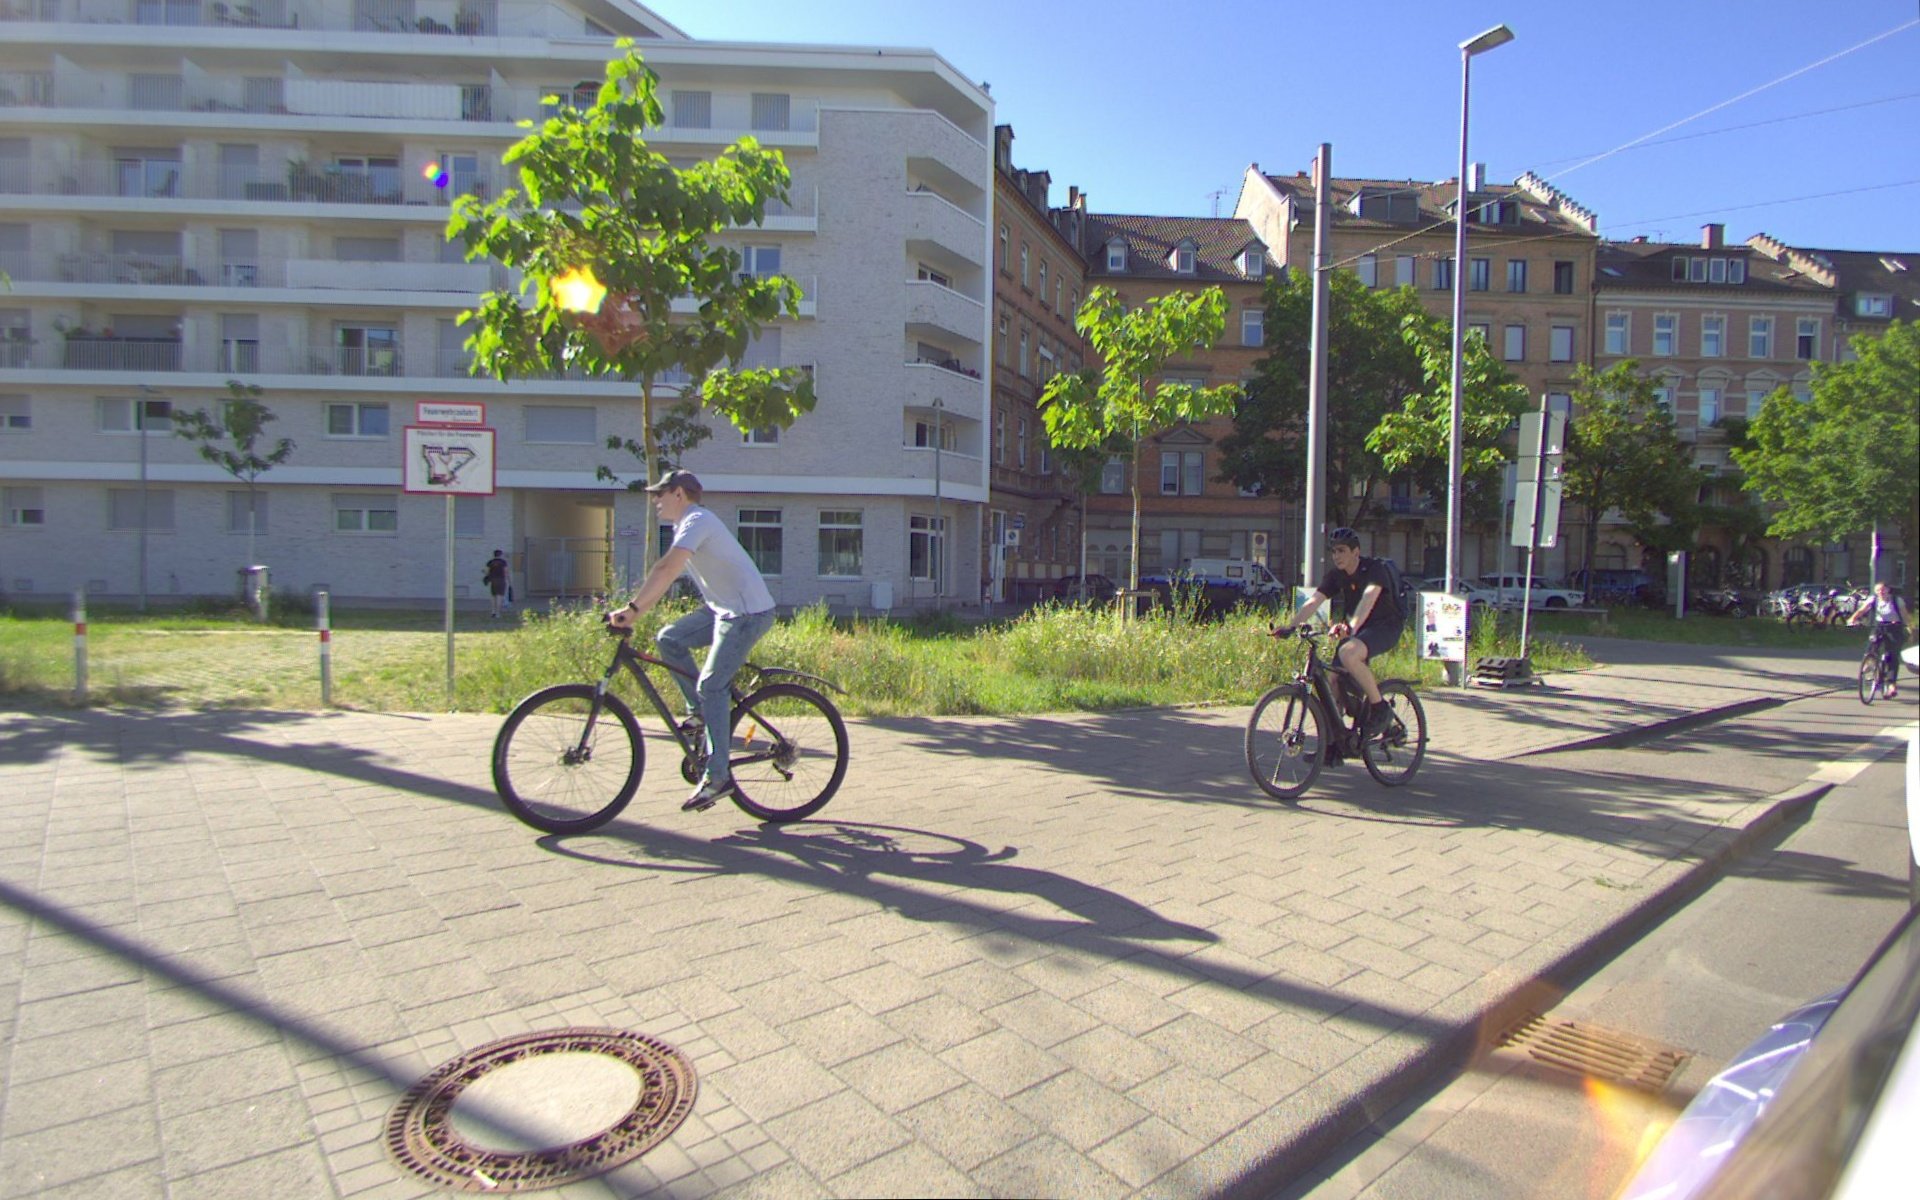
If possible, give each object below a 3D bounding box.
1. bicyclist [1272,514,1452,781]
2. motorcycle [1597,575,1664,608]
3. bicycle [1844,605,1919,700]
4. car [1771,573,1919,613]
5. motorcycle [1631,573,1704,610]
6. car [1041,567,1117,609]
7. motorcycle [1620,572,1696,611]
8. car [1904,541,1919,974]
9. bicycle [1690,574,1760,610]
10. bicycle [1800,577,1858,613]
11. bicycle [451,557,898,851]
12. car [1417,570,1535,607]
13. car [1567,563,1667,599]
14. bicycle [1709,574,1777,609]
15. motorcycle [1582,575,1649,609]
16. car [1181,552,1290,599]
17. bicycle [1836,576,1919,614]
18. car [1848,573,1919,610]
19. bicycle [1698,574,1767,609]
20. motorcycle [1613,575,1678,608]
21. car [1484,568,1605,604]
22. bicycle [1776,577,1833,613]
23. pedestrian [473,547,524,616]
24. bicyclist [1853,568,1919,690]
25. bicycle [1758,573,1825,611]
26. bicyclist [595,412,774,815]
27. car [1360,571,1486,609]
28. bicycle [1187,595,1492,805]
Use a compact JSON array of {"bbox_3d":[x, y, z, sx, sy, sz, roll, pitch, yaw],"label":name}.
[{"bbox_3d":[2.681,0.285,6.765,0.952,1.649,0.632,0,1,-29],"label":"bicyclist"},{"bbox_3d":[26.698,-0.337,40.360,0.649,1.300,2.324,0,0,-18],"label":"motorcycle"},{"bbox_3d":[13.111,0.696,14.198,2.115,1.212,0.669,0,1,-38],"label":"bicycle"},{"bbox_3d":[34.686,-0.321,39.596,1.651,1.423,4.324,-1,3,-38],"label":"car"},{"bbox_3d":[26.155,-0.322,37.471,0.649,1.339,2.208,0,0,-23],"label":"motorcycle"},{"bbox_3d":[4.567,-0.506,38.301,1.811,1.444,4.359,1,2,21],"label":"car"},{"bbox_3d":[25.339,-0.307,36.783,0.650,1.347,2.207,0,0,-28],"label":"motorcycle"},{"bbox_3d":[5.870,0.605,4.719,4.323,1.667,1.840,0,0,-43],"label":"car"},{"bbox_3d":[28.370,-0.311,37.568,0.649,1.284,2.208,0,0,-11],"label":"bicycle"},{"bbox_3d":[32.035,-0.194,37.337,0.653,1.284,2.196,0,0,12],"label":"bicycle"},{"bbox_3d":[-1.448,0.442,5.288,2.109,1.317,0.760,-1,2,-23],"label":"bicycle"},{"bbox_3d":[19.673,-0.469,38.720,1.648,1.267,3.709,0,3,-28],"label":"car"},{"bbox_3d":[30.876,-0.921,47.653,3.631,1.607,1.552,1,2,0],"label":"car"},{"bbox_3d":[29.724,-0.327,38.466,0.649,1.284,2.208,0,0,-9],"label":"bicycle"},{"bbox_3d":[26.027,-0.329,40.228,0.649,1.293,2.324,0,0,-18],"label":"motorcycle"},{"bbox_3d":[12.661,-1.155,46.786,4.416,2.062,2.054,1,2,0],"label":"car"},{"bbox_3d":[31.630,-0.167,34.766,2.180,1.284,0.657,0,0,25],"label":"bicycle"},{"bbox_3d":[37.823,-0.330,39.965,1.649,1.423,3.832,-1,3,-32],"label":"car"},{"bbox_3d":[29.081,-0.321,38.155,0.649,1.284,2.208,0,0,-9],"label":"bicycle"},{"bbox_3d":[27.488,-0.336,40.614,0.649,1.284,2.209,0,0,-18],"label":"motorcycle"},{"bbox_3d":[22.329,-0.579,38.776,1.513,1.267,3.700,-1,3,-39],"label":"car"},{"bbox_3d":[30.941,-0.186,37.114,0.653,1.284,2.196,0,0,12],"label":"bicycle"},{"bbox_3d":[-11.885,-0.495,26.097,0.829,1.717,0.985,2,2,2],"label":"pedestrian"},{"bbox_3d":[13.113,0.379,14.195,0.953,1.649,0.669,0,1,-37],"label":"bicyclist"},{"bbox_3d":[29.274,-0.293,35.676,0.651,1.284,2.202,0,0,4],"label":"bicycle"},{"bbox_3d":[-1.450,0.046,5.269,0.734,1.889,0.812,-1,2,-26],"label":"bicyclist"},{"bbox_3d":[17.349,-0.423,38.110,1.648,1.267,4.170,0,3,-28],"label":"car"},{"bbox_3d":[2.541,0.584,6.695,2.110,1.212,0.639,0,1,-28],"label":"bicycle"}]
